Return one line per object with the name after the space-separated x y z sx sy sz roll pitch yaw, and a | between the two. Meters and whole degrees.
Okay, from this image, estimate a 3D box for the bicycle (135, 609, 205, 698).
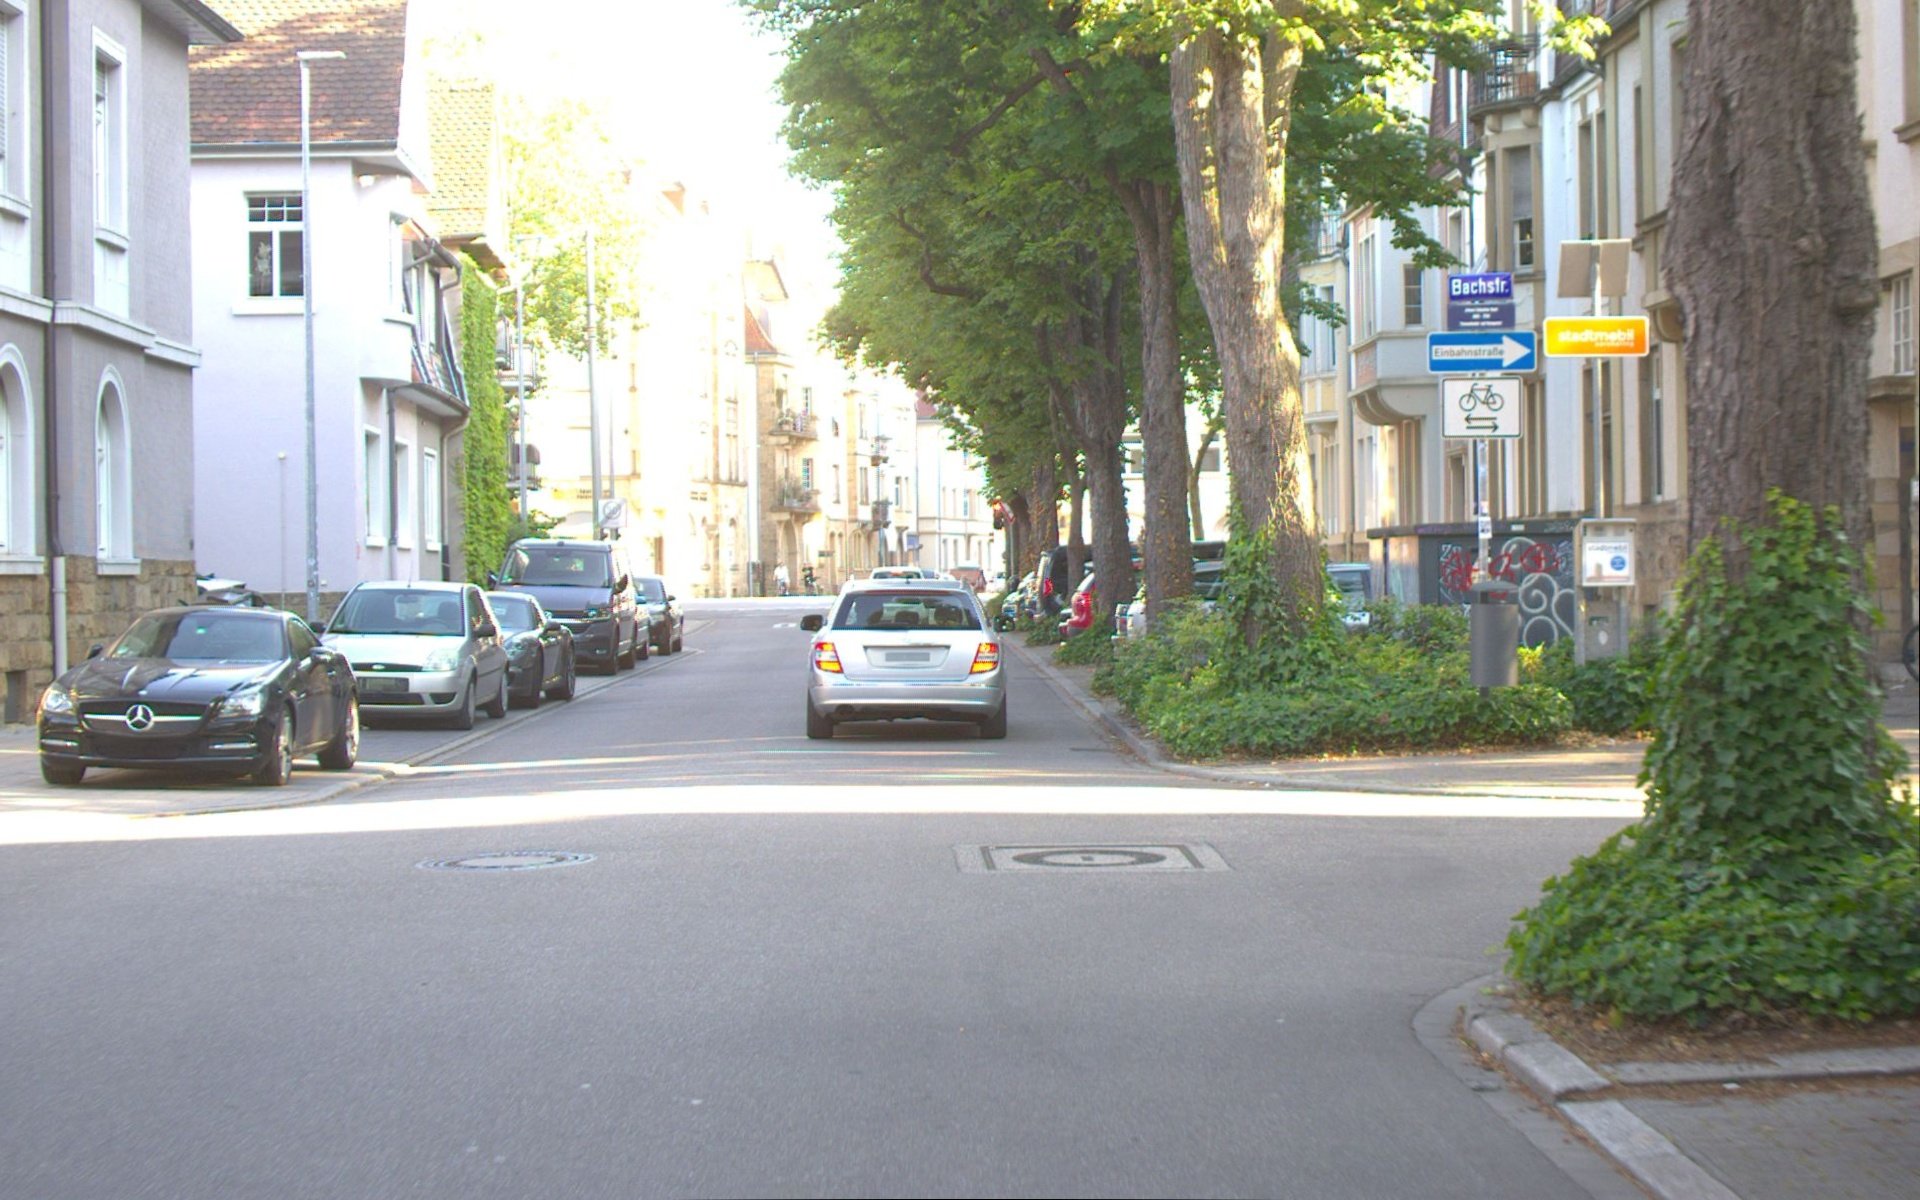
-8.802 0.584 38.357 0.394 0.934 1.722 0 1 -1 | bicycle

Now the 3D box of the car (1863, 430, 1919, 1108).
4.694 0.394 8.533 4.314 1.801 2.000 -2 1 -1 | car

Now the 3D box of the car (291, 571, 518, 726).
-5.605 0.449 35.070 1.653 1.440 3.960 1 1 0 | car

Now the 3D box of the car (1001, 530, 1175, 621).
3.312 -0.645 89.747 4.388 2.356 2.000 0 1 -3 | car

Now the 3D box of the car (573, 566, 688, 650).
-6.000 0.112 62.993 1.695 1.442 4.358 1 1 0 | car

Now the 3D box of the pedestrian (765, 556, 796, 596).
-7.979 -1.067 152.783 1.221 1.716 1.503 1 0 3 | pedestrian

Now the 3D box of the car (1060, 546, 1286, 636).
3.995 -0.172 64.949 4.110 1.566 1.877 -2 0 0 | car

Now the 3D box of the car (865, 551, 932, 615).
-1.532 -0.445 86.343 1.623 1.564 3.680 0 1 0 | car

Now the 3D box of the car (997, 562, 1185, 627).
3.101 -0.130 81.832 4.287 1.412 1.877 -1 1 -3 | car

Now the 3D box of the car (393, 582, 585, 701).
-5.477 0.455 40.400 1.531 1.314 4.226 1 0 2 | car

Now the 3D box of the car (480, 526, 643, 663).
-5.958 -0.109 51.840 1.982 1.941 4.852 1 1 -1 | car

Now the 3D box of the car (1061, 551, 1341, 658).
3.681 0.065 53.052 4.190 1.470 1.851 -2 0 2 | car

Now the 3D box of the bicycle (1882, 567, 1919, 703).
8.865 0.311 30.812 0.584 1.207 1.958 0 1 -3 | bicycle

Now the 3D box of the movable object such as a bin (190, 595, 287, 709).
-8.487 0.590 40.509 0.721 1.279 2.096 0 1 0 | movable object such as a bin

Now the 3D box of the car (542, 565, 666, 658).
-5.933 0.167 57.701 1.653 1.442 4.237 1 1 0 | car

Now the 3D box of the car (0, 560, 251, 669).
-11.690 0.189 46.707 3.862 1.438 1.635 0 1 -4 | car

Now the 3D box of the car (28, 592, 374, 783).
-5.748 0.615 26.485 1.653 1.319 4.045 1 0 1 | car

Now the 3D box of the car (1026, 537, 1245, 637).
3.531 -0.265 69.646 4.219 1.890 1.906 -2 0 -2 | car

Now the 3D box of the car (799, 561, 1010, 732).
-0.478 0.398 31.229 1.784 1.432 3.851 1 0 0 | car

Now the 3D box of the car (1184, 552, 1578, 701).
4.375 0.258 36.084 3.792 1.433 1.749 -1 1 -5 | car
